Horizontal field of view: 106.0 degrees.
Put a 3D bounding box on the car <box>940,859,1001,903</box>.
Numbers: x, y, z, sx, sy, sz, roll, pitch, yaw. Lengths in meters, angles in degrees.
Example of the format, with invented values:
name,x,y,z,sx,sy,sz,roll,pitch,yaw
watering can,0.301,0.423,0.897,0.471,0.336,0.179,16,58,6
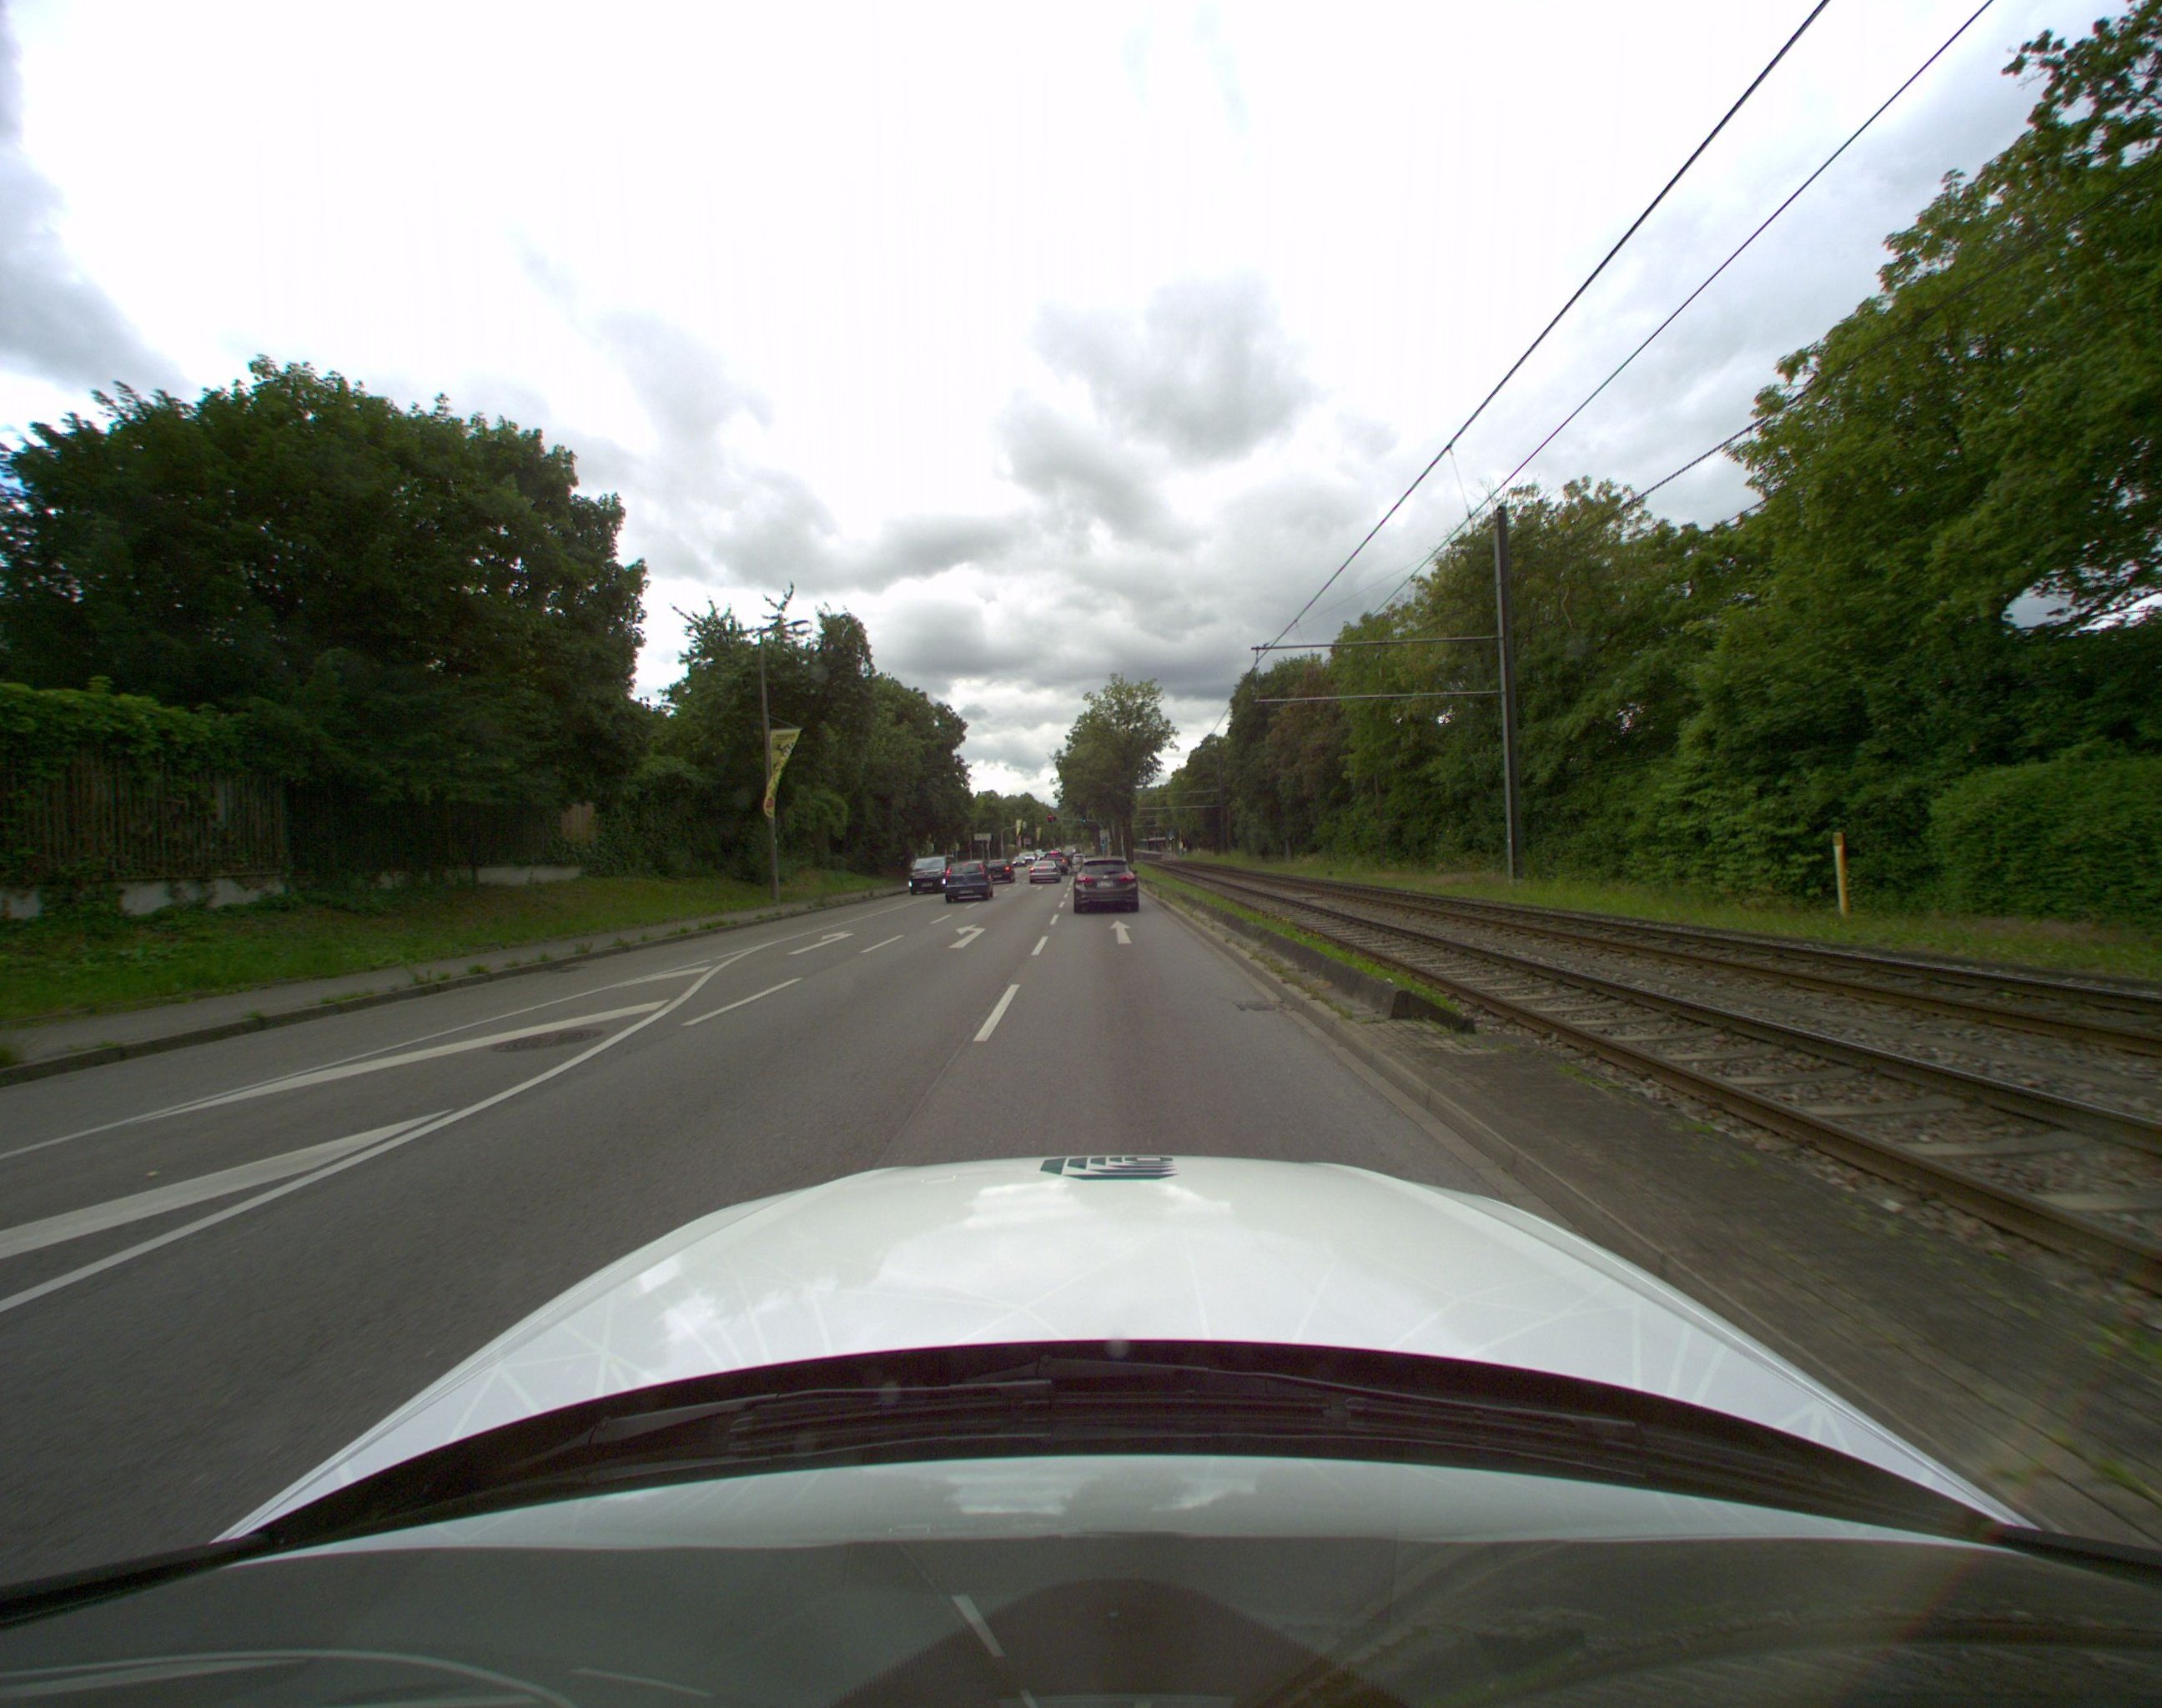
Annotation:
name,x,y,z,sx,sy,sz,roll,pitch,yaw
car,-4.155,0.964,31.163,1.586,1.468,3.930,-4,0,2

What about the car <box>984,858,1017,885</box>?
name,x,y,z,sx,sy,sz,roll,pitch,yaw
car,-4.922,1.024,50.094,1.551,1.466,3.807,-4,0,0

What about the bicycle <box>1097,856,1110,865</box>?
name,x,y,z,sx,sy,sz,roll,pitch,yaw
bicycle,3.082,0.849,110.791,1.671,1.090,0.601,-5,0,-4

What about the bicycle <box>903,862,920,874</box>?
name,x,y,z,sx,sy,sz,roll,pitch,yaw
bicycle,-18.306,1.491,88.122,0.539,1.252,1.948,-1,0,37

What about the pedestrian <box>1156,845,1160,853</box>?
name,x,y,z,sx,sy,sz,roll,pitch,yaw
pedestrian,14.477,-0.866,153.292,0.715,1.511,0.724,0,-1,2

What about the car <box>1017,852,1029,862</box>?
name,x,y,z,sx,sy,sz,roll,pitch,yaw
car,-10.408,0.568,145.652,1.940,1.811,4.436,-1,0,-5

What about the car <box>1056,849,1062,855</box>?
name,x,y,z,sx,sy,sz,roll,pitch,yaw
car,-7.115,-0.689,260.968,1.897,1.678,5.076,-2,0,-2

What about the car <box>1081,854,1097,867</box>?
name,x,y,z,sx,sy,sz,roll,pitch,yaw
car,0.922,0.730,91.228,1.704,1.475,3.673,-1,0,2

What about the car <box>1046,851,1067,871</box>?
name,x,y,z,sx,sy,sz,roll,pitch,yaw
car,-2.423,0.662,81.864,1.901,1.843,5.281,-2,0,0

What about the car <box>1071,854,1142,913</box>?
name,x,y,z,sx,sy,sz,roll,pitch,yaw
car,0.723,0.770,23.379,1.830,1.528,3.930,-1,0,2

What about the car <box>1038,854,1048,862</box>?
name,x,y,z,sx,sy,sz,roll,pitch,yaw
car,-7.217,0.801,153.902,1.734,1.539,3.909,-1,0,-1

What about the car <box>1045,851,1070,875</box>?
name,x,y,z,sx,sy,sz,roll,pitch,yaw
car,-1.813,0.705,64.853,1.797,1.795,4.503,-1,-1,0

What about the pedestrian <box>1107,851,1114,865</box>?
name,x,y,z,sx,sy,sz,roll,pitch,yaw
pedestrian,3.734,0.502,102.988,0.748,1.737,0.840,-5,-1,4

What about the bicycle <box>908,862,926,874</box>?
name,x,y,z,sx,sy,sz,roll,pitch,yaw
bicycle,-17.671,1.484,87.834,0.539,1.252,1.947,-1,-1,37

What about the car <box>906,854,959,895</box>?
name,x,y,z,sx,sy,sz,roll,pitch,yaw
car,-7.569,1.003,41.926,1.798,1.904,4.687,-4,0,-1

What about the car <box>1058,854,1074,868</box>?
name,x,y,z,sx,sy,sz,roll,pitch,yaw
car,-1.695,0.776,91.606,1.698,1.480,3.667,-2,0,0

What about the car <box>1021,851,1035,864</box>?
name,x,y,z,sx,sy,sz,roll,pitch,yaw
car,-8.184,0.583,125.913,1.786,1.831,4.408,-3,0,-1

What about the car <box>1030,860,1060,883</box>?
name,x,y,z,sx,sy,sz,roll,pitch,yaw
car,-2.082,0.987,47.587,1.550,1.267,3.822,-2,0,0
